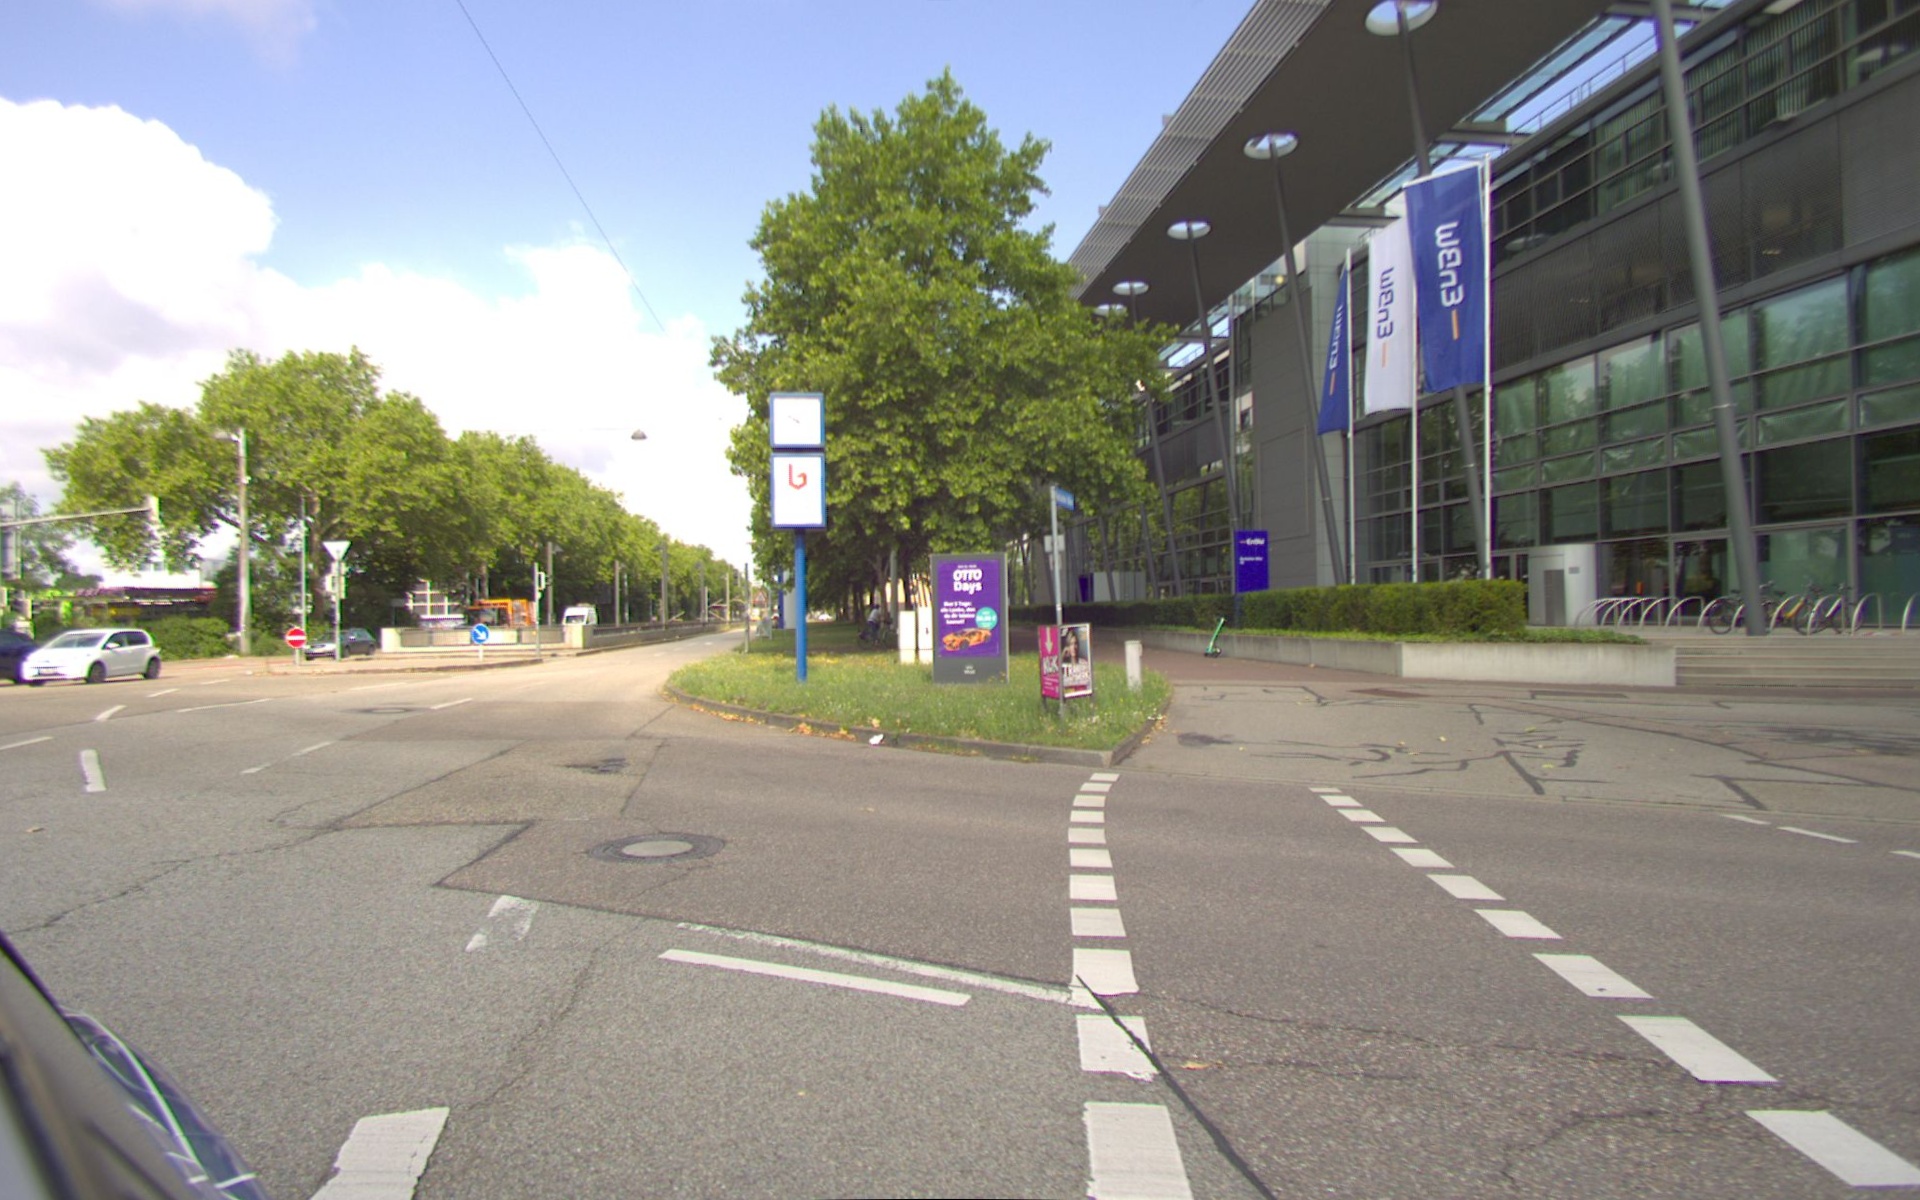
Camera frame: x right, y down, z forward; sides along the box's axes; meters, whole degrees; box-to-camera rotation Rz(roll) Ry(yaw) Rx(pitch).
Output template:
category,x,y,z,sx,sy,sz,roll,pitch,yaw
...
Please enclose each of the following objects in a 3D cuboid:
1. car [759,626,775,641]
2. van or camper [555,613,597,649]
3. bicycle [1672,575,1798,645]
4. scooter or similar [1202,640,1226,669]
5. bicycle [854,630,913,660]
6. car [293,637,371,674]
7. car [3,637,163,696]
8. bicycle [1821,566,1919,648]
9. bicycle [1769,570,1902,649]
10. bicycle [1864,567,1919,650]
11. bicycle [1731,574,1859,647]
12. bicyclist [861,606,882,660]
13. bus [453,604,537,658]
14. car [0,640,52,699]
category,x,y,z,sx,sy,sz,roll,pitch,yaw
car,-20.550,3.563,107.830,1.399,1.467,3.163,5,-1,-8
van or camper,-33.038,2.607,87.176,2.130,2.806,5.977,3,-1,-9
bicycle,16.727,0.221,21.868,2.109,1.394,0.742,3,-1,-1
scooter or similar,6.835,1.463,27.253,0.237,0.718,1.232,3,-1,-4
bicycle,-3.000,1.763,39.652,2.145,1.094,0.889,0,0,-15
car,-30.215,2.635,48.788,1.744,1.475,4.007,0,1,-8
car,-24.074,1.825,27.962,1.710,1.497,3.609,0,-3,-10
bicycle,17.602,0.158,19.126,2.146,1.451,0.692,3,-1,-6
bicycle,17.459,0.190,20.197,2.146,1.451,0.692,3,-1,-6
bicycle,17.780,0.189,18.397,2.146,1.451,0.692,3,-1,-6
bicycle,17.355,0.225,21.056,2.107,1.394,0.743,3,-1,-5
bicyclist,-3.468,1.285,39.543,0.719,2.028,0.605,-1,2,-10
bus,-34.337,2.175,75.264,2.703,3.492,10.414,3,0,-8
car,-27.009,1.899,27.055,1.862,1.587,4.588,-3,-3,-8
